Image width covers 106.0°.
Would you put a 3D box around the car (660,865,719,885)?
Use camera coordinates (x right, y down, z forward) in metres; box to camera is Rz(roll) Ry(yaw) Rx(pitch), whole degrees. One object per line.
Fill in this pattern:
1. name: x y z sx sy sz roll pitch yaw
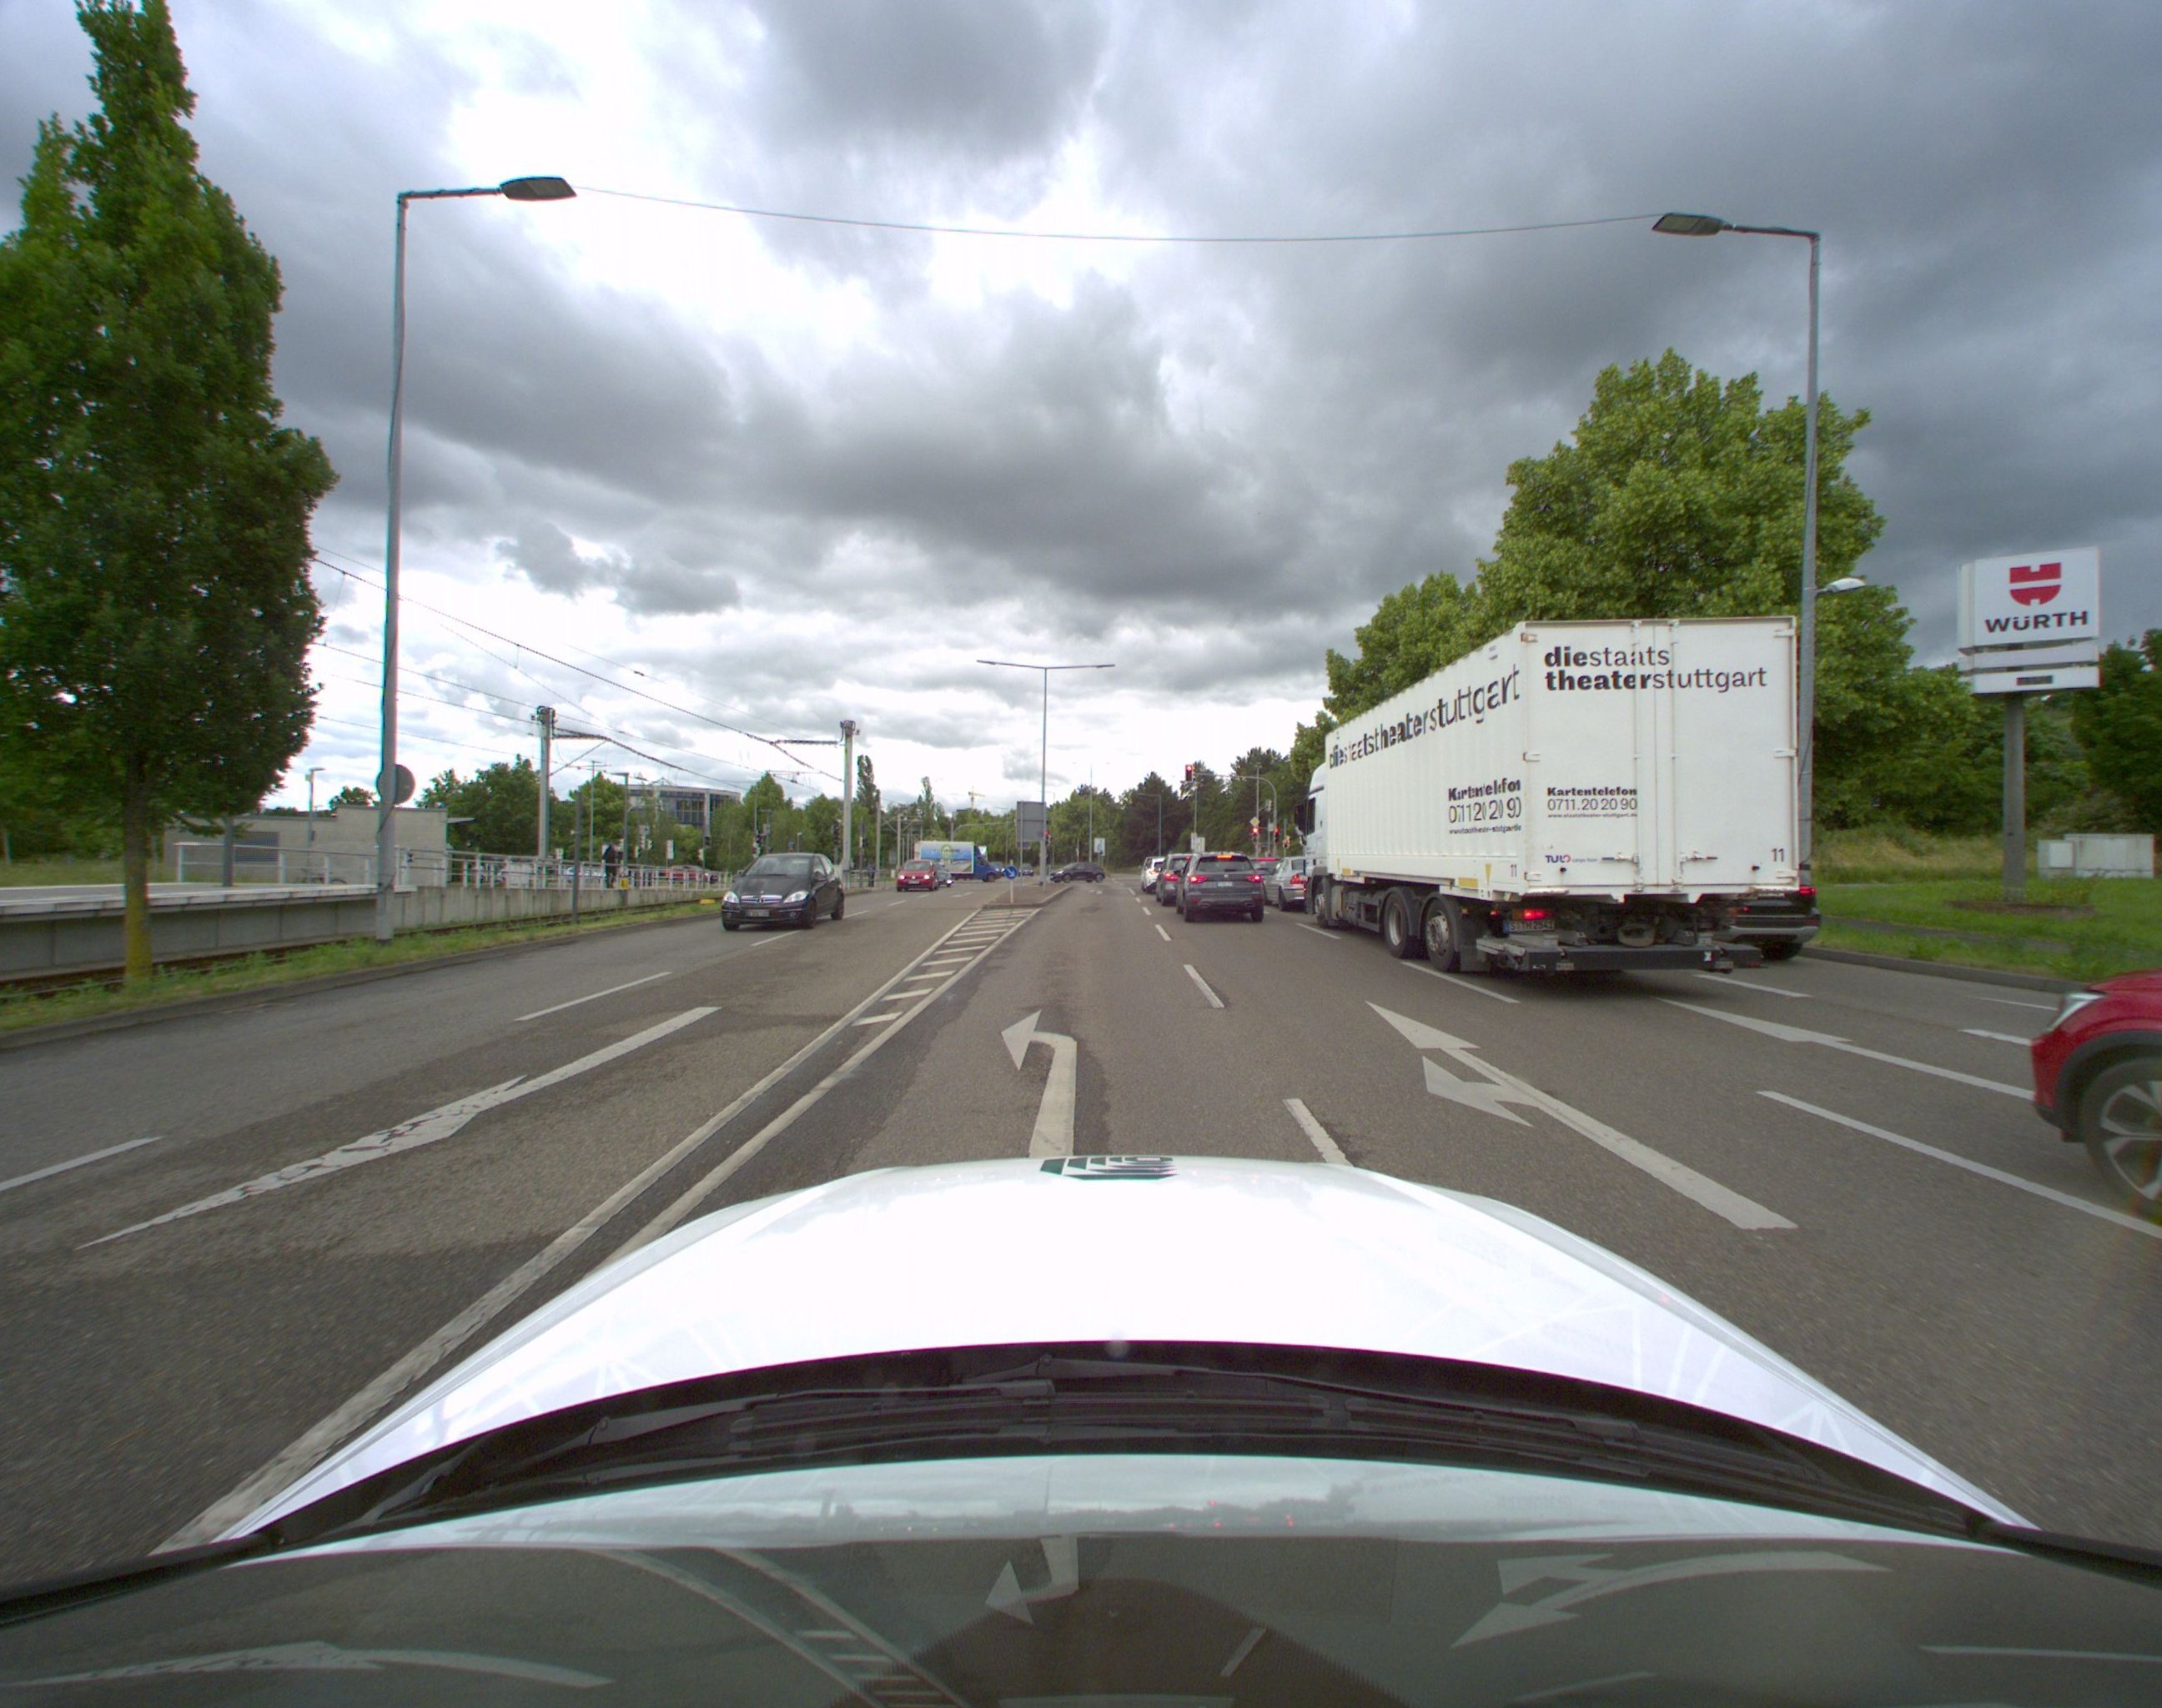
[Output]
1. car: -30.976 1.650 64.506 3.961 1.517 1.737 -1 -2 11

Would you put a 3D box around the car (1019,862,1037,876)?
1. car: -6.410 1.821 98.130 1.914 1.576 3.990 -1 0 -7

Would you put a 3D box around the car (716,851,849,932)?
1. car: -6.466 0.752 18.066 1.721 1.574 3.703 -1 -1 -3

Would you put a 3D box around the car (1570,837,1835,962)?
1. car: 8.844 0.547 11.920 1.564 1.571 3.060 1 1 1

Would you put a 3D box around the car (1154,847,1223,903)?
1. car: 3.185 0.577 24.789 1.791 1.523 4.192 -1 0 4

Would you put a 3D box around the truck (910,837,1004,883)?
1. truck: -10.180 0.473 66.810 7.262 3.598 2.675 0 2 -20

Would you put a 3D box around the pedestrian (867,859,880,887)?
1. pedestrian: -11.865 1.073 46.567 0.349 1.556 0.657 0 2 36

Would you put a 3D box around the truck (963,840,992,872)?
1. truck: -12.127 0.192 96.387 2.654 3.649 9.492 0 0 -3

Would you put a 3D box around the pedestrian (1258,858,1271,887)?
1. pedestrian: 9.227 0.906 40.886 0.607 1.453 0.355 -1 -1 10

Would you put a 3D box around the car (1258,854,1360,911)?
1. car: 6.027 0.709 22.014 1.804 1.354 4.122 -1 0 3

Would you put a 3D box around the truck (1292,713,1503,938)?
1. truck: 5.792 -0.484 15.597 2.560 3.705 4.109 -1 0 3

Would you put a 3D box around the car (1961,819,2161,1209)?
1. car: 4.931 0.621 1.735 1.699 1.524 4.326 -1 0 5

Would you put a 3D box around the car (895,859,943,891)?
1. car: -7.995 1.000 40.555 1.698 1.488 4.083 -1 0 -2

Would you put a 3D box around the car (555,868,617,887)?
1. car: -37.883 1.779 62.393 3.964 1.377 1.522 -1 -1 8

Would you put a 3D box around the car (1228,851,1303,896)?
1. car: 6.348 0.663 28.463 1.818 1.435 4.215 -1 -1 3

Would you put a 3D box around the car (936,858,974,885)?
1. car: -7.392 1.018 48.251 1.687 1.439 4.541 -1 0 -2

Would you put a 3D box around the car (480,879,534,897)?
1. car: -44.620 2.651 63.349 3.264 1.310 1.556 -1 -1 8

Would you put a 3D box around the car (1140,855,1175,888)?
1. car: 3.637 0.841 39.070 1.529 1.504 2.671 -1 -1 2

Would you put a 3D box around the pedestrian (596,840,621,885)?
1. pedestrian: -19.220 0.339 33.118 0.570 1.827 0.793 0 -1 -2

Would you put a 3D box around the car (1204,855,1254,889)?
1. car: 6.444 0.766 35.812 1.540 1.404 4.000 -1 -1 1

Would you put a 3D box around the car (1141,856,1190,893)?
1. car: 3.446 0.823 33.830 1.715 1.422 4.358 -1 -1 2

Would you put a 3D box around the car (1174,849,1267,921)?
1. car: 3.145 0.663 19.050 1.691 1.486 4.003 -1 0 3

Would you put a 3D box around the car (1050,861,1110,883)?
1. car: -0.049 1.259 57.764 3.942 1.496 1.587 -1 0 -22

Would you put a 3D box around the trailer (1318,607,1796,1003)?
1. trailer: 5.623 -0.478 11.590 2.555 3.705 7.770 -1 0 3
